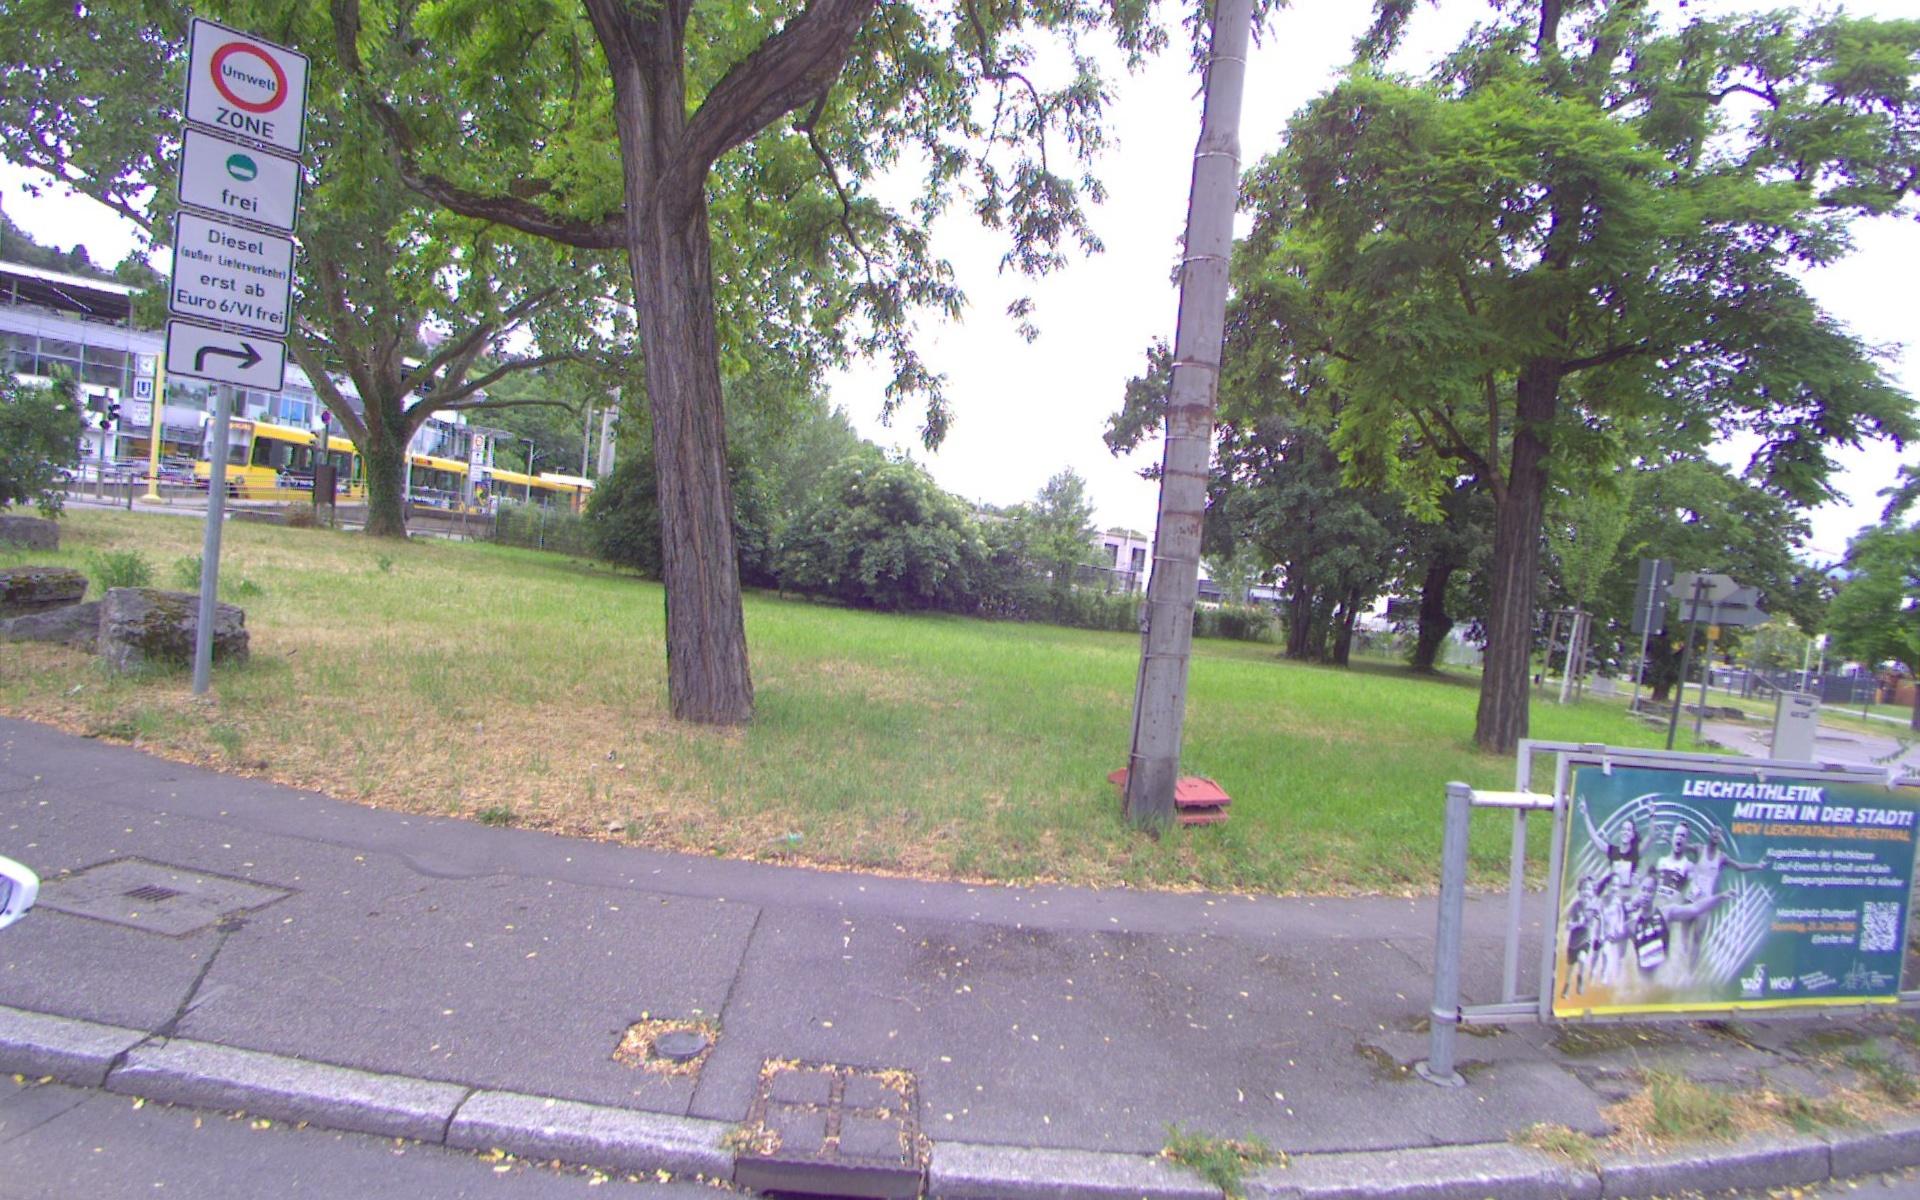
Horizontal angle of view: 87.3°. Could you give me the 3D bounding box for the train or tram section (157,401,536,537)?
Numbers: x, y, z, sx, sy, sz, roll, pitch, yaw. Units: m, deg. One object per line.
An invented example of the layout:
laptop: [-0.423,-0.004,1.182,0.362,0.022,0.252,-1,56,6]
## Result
train or tram section: [-27.273,-5.566,47.537,3.215,3.713,19.168,7,2,10]

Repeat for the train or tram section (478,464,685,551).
train or tram section: [-24.044,-5.704,66.379,3.215,3.713,19.168,7,2,10]
